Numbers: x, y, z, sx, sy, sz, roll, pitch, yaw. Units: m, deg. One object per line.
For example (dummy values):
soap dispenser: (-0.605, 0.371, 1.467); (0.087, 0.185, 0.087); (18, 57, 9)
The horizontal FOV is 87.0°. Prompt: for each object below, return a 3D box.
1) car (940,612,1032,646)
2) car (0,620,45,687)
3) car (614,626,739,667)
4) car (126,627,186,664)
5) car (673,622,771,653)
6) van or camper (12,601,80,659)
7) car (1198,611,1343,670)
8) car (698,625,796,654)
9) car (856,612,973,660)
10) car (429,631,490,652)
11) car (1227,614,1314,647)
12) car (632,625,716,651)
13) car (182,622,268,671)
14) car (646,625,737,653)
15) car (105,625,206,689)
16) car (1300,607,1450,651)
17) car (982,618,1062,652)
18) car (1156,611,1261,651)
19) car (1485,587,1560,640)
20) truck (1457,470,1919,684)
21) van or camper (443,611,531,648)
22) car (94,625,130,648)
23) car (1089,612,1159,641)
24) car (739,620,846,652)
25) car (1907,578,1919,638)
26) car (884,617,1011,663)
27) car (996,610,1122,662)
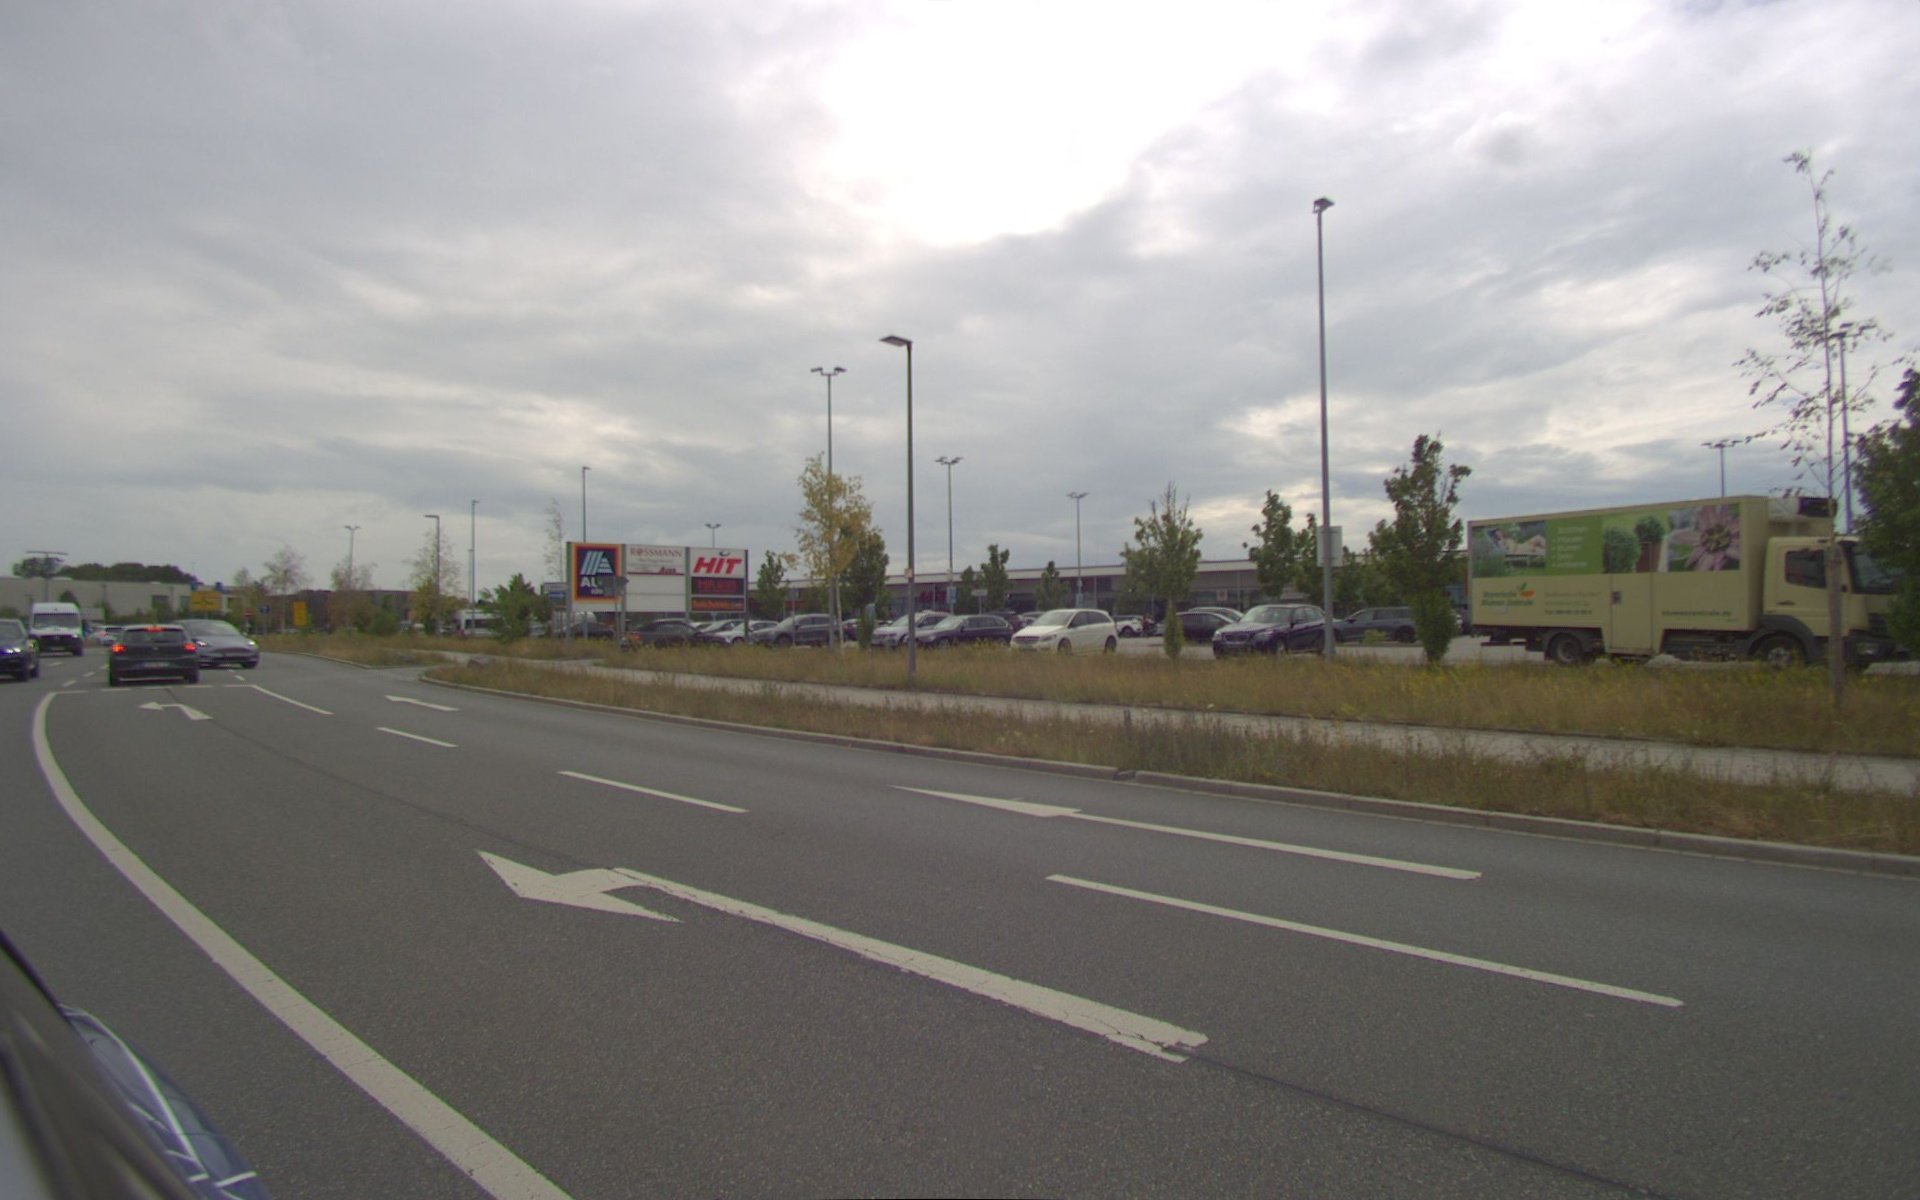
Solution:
car: (1.363, 1.544, 53.961); (4.566, 1.760, 1.979); (-1, -2, 30)
car: (-25.745, 1.413, 26.693); (1.967, 1.677, 4.009); (0, -2, -36)
car: (-10.610, 1.694, 37.993); (4.162, 1.449, 1.779); (1, -2, -37)
car: (-33.498, 1.857, 42.185); (1.856, 1.480, 4.201); (1, -2, -39)
car: (-12.144, 1.925, 51.748); (4.309, 1.517, 2.244); (1, -3, -39)
van or camper: (-44.412, 1.485, 49.140); (2.232, 2.636, 5.701); (2, -3, -44)
car: (8.326, 1.049, 26.962); (1.999, 1.446, 4.184); (-3, -3, 44)
car: (-10.378, 1.900, 49.372); (4.261, 1.350, 2.029); (1, -3, -43)
car: (-1.724, 1.338, 38.848); (4.192, 1.736, 2.030); (1, -2, -44)
car: (-40.218, 3.323, 81.339); (2.085, 1.646, 3.900); (-3, -3, 43)
car: (16.016, 1.600, 52.162); (3.982, 1.619, 1.981); (-2, -2, 29)
car: (-15.879, 2.116, 56.211); (4.032, 1.402, 2.004); (1, -3, -38)
car: (-25.049, 1.568, 34.447); (1.969, 1.573, 4.619); (1, -3, -41)
car: (-14.376, 2.082, 54.228); (4.265, 1.468, 2.014); (1, -3, -41)
car: (-20.062, 1.362, 25.166); (1.807, 1.431, 4.252); (1, -2, -41)
car: (16.253, 1.174, 39.701); (5.249, 1.619, 1.981); (-2, -2, 29)
car: (3.451, 1.975, 56.440); (3.989, 1.830, 1.977); (-1, -2, 34)
car: (10.520, 1.346, 42.860); (3.982, 1.619, 1.981); (-2, -2, 29)
car: (20.525, 0.526, 36.838); (1.973, 1.785, 3.953); (-2, -3, 35)
truck: (15.043, -0.282, 21.324); (2.809, 3.568, 8.456); (0, -1, -21)
van or camper: (-36.568, 2.283, 78.369); (2.242, 2.821, 5.790); (-1, -2, 41)
car: (-63.883, 2.734, 76.318); (1.968, 1.649, 4.711); (3, -4, -39)
car: (10.665, 1.759, 65.747); (4.147, 1.830, 1.749); (-1, -2, 35)
car: (-7.662, 1.638, 46.439); (4.301, 1.402, 2.170); (1, -3, -38)
car: (31.951, 0.210, 30.703); (4.245, 1.863, 1.982); (-1, -2, 26)
car: (-0.413, 1.391, 36.443); (4.188, 1.525, 2.050); (0, -2, -39)
car: (3.246, 1.156, 32.616); (1.988, 1.571, 4.202); (-2, -3, 41)
